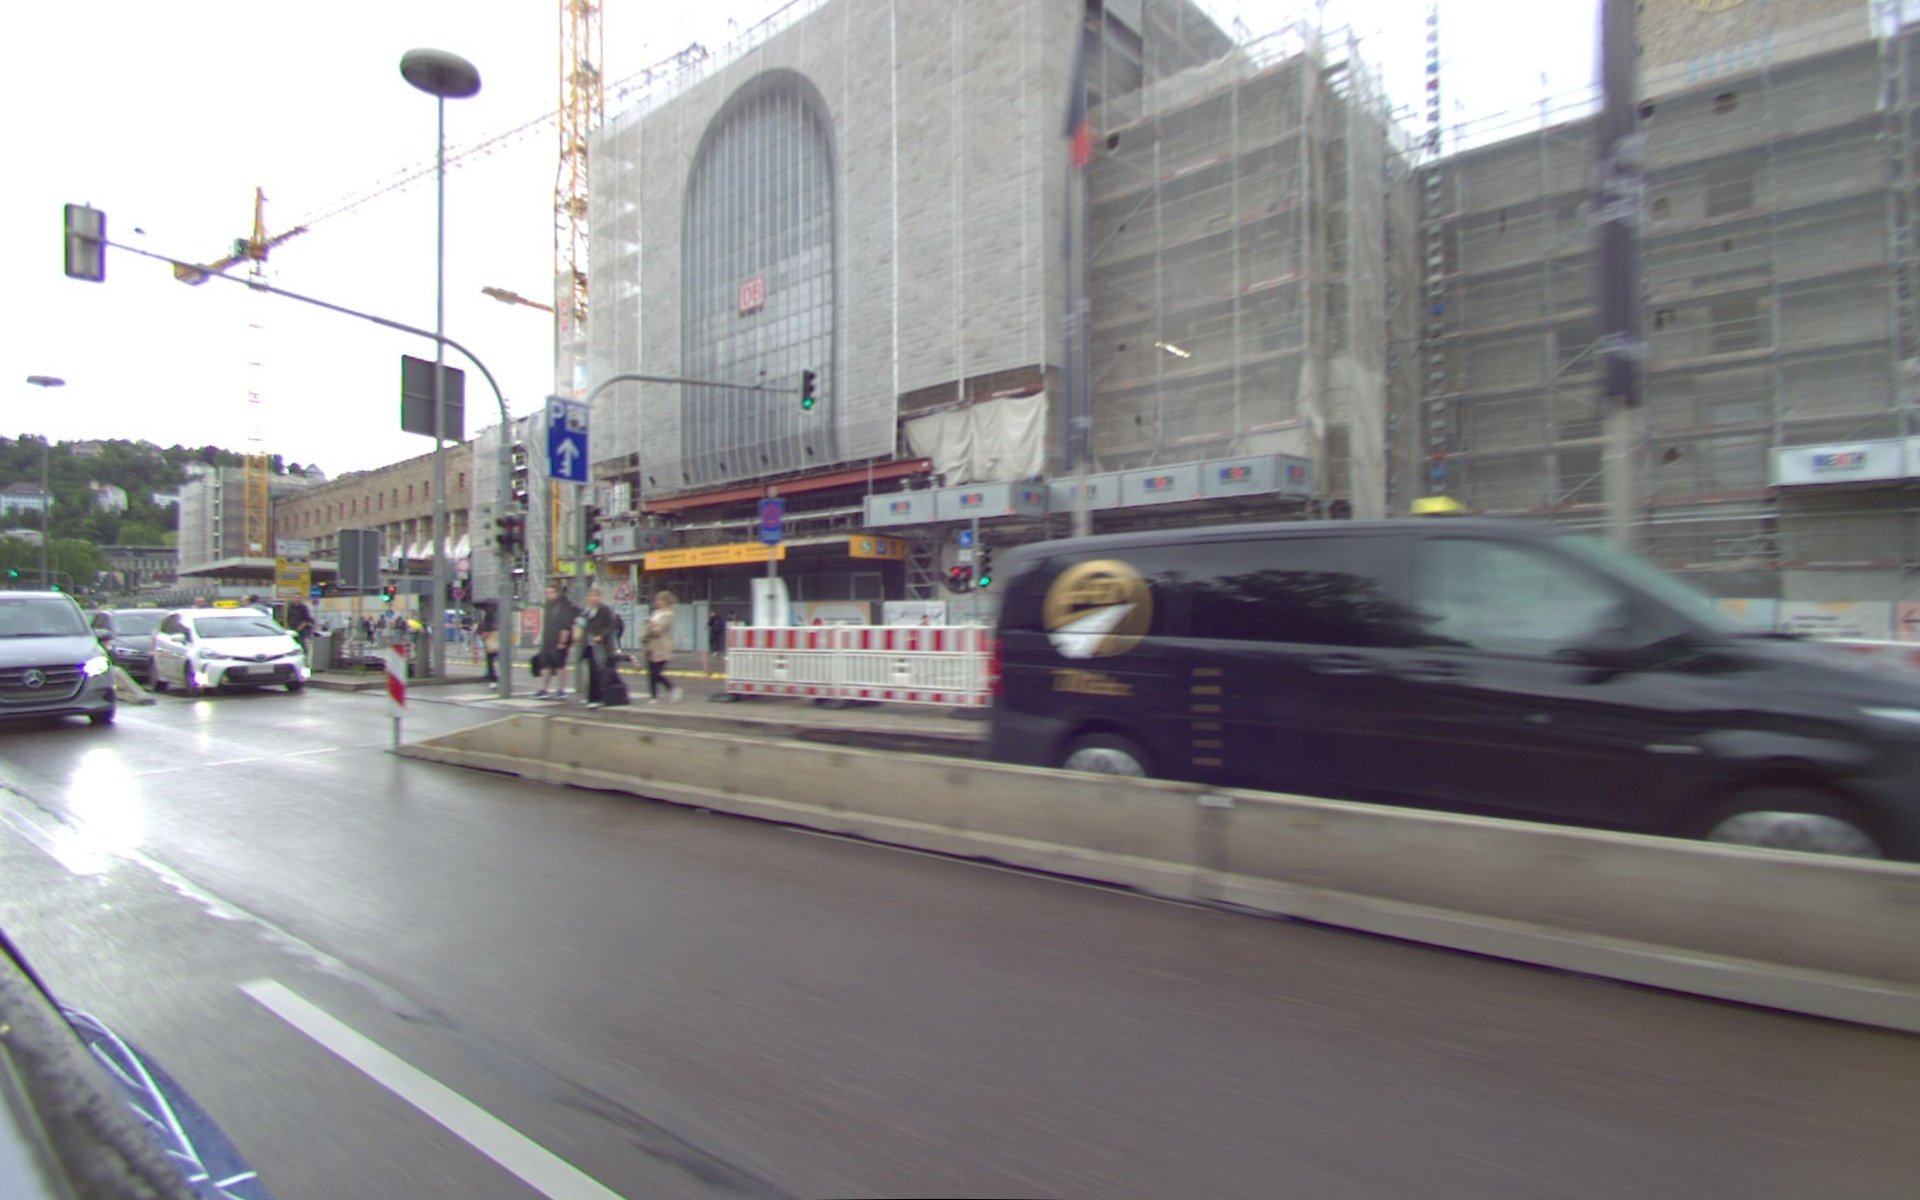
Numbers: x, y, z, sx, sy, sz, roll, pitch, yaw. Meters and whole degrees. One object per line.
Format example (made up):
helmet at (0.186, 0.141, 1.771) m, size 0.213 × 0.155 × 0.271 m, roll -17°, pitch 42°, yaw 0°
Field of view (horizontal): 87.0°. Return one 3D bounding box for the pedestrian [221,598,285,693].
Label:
pedestrian at (-15.632, 0.989, 22.410) m, size 0.822 × 2.029 × 1.030 m, roll 0°, pitch -1°, yaw -12°

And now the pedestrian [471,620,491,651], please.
pedestrian at (-25.062, 1.846, 52.916) m, size 0.839 × 1.626 × 0.669 m, roll -2°, pitch -1°, yaw 44°

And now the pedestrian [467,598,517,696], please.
pedestrian at (-8.629, 0.855, 18.646) m, size 0.756 × 1.748 × 0.577 m, roll -2°, pitch -2°, yaw 41°

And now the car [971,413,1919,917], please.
car at (2.679, 0.250, 5.631) m, size 5.054 × 1.859 × 1.975 m, roll -1°, pitch 0°, yaw 37°

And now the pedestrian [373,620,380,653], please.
pedestrian at (-33.076, 2.086, 57.338) m, size 0.334 × 1.855 × 0.510 m, roll 0°, pitch -1°, yaw -33°

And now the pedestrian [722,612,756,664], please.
pedestrian at (-7.931, 1.349, 36.309) m, size 0.993 × 1.855 × 0.719 m, roll -2°, pitch -2°, yaw 41°

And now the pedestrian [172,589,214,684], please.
pedestrian at (-16.801, 0.794, 22.161) m, size 0.889 × 2.029 × 0.522 m, roll -2°, pitch -2°, yaw 39°

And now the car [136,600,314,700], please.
car at (-14.193, 0.905, 19.438) m, size 4.664 × 1.698 × 1.768 m, roll -1°, pitch -2°, yaw 41°

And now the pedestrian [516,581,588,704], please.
pedestrian at (-6.511, 0.675, 16.182) m, size 0.689 × 1.901 × 0.824 m, roll -1°, pitch -2°, yaw 31°

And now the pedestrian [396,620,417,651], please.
pedestrian at (-33.432, 2.137, 61.107) m, size 1.058 × 1.855 × 0.829 m, roll -2°, pitch -1°, yaw 45°

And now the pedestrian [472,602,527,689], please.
pedestrian at (-9.120, 0.883, 20.053) m, size 0.836 × 1.677 × 0.706 m, roll -2°, pitch -2°, yaw 41°

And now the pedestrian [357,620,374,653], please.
pedestrian at (-33.808, 2.089, 57.573) m, size 0.692 × 1.855 × 0.880 m, roll 0°, pitch -1°, yaw -20°

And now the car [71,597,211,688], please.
car at (-18.894, 0.942, 23.276) m, size 4.607 × 1.906 × 1.696 m, roll -1°, pitch -2°, yaw 41°

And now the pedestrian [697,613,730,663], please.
pedestrian at (-9.196, 1.413, 37.822) m, size 0.936 × 1.855 × 0.810 m, roll -2°, pitch -2°, yaw 41°

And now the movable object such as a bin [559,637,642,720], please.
movable object such as a bin at (-4.970, 1.064, 13.977) m, size 0.989 × 1.084 × 0.751 m, roll 0°, pitch -2°, yaw -27°

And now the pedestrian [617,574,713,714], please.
pedestrian at (-4.170, 0.607, 14.321) m, size 1.021 × 1.896 × 0.829 m, roll -1°, pitch -1°, yaw 24°

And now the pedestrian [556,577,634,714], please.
pedestrian at (-5.287, 0.644, 14.653) m, size 0.989 × 1.901 × 0.685 m, roll 0°, pitch -2°, yaw -27°

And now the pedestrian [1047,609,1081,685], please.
pedestrian at (2.588, 1.168, 25.212) m, size 0.528 × 1.855 × 0.690 m, roll -1°, pitch -2°, yaw 39°

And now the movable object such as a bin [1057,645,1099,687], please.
movable object such as a bin at (2.852, 1.581, 24.513) m, size 0.720 × 0.977 × 0.751 m, roll -1°, pitch -2°, yaw 39°

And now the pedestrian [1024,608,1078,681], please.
pedestrian at (2.366, 1.143, 26.393) m, size 0.969 × 1.855 × 1.044 m, roll 0°, pitch -2°, yaw -28°

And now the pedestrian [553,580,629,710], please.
pedestrian at (-5.607, 0.663, 15.349) m, size 0.989 × 1.901 × 0.820 m, roll 0°, pitch -2°, yaw -27°

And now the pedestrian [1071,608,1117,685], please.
pedestrian at (3.308, 1.136, 24.988) m, size 0.877 × 1.855 × 0.690 m, roll -1°, pitch 0°, yaw 39°

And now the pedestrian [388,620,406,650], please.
pedestrian at (-35.482, 2.224, 63.733) m, size 0.851 × 1.855 × 0.793 m, roll -2°, pitch -1°, yaw 45°

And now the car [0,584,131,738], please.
car at (-13.826, 0.806, 14.562) m, size 5.246 × 1.918 × 1.974 m, roll -1°, pitch 0°, yaw 40°

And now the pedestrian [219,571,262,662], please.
pedestrian at (-16.448, 0.384, 23.129) m, size 0.835 × 2.029 × 0.615 m, roll -2°, pitch -2°, yaw 40°

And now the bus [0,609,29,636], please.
bus at (-136.603, 3.249, 145.478) m, size 19.083 × 3.605 × 2.877 m, roll -1°, pitch -2°, yaw 44°

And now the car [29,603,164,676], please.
car at (-23.213, 1.022, 27.144) m, size 4.843 × 1.800 × 1.973 m, roll -1°, pitch -2°, yaw 40°

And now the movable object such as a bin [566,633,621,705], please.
movable object such as a bin at (-5.775, 1.072, 15.949) m, size 0.732 × 1.084 × 0.751 m, roll 0°, pitch -2°, yaw -27°

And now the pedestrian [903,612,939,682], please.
pedestrian at (-1.041, 1.255, 27.357) m, size 0.639 × 1.855 × 0.766 m, roll -1°, pitch -2°, yaw 34°
